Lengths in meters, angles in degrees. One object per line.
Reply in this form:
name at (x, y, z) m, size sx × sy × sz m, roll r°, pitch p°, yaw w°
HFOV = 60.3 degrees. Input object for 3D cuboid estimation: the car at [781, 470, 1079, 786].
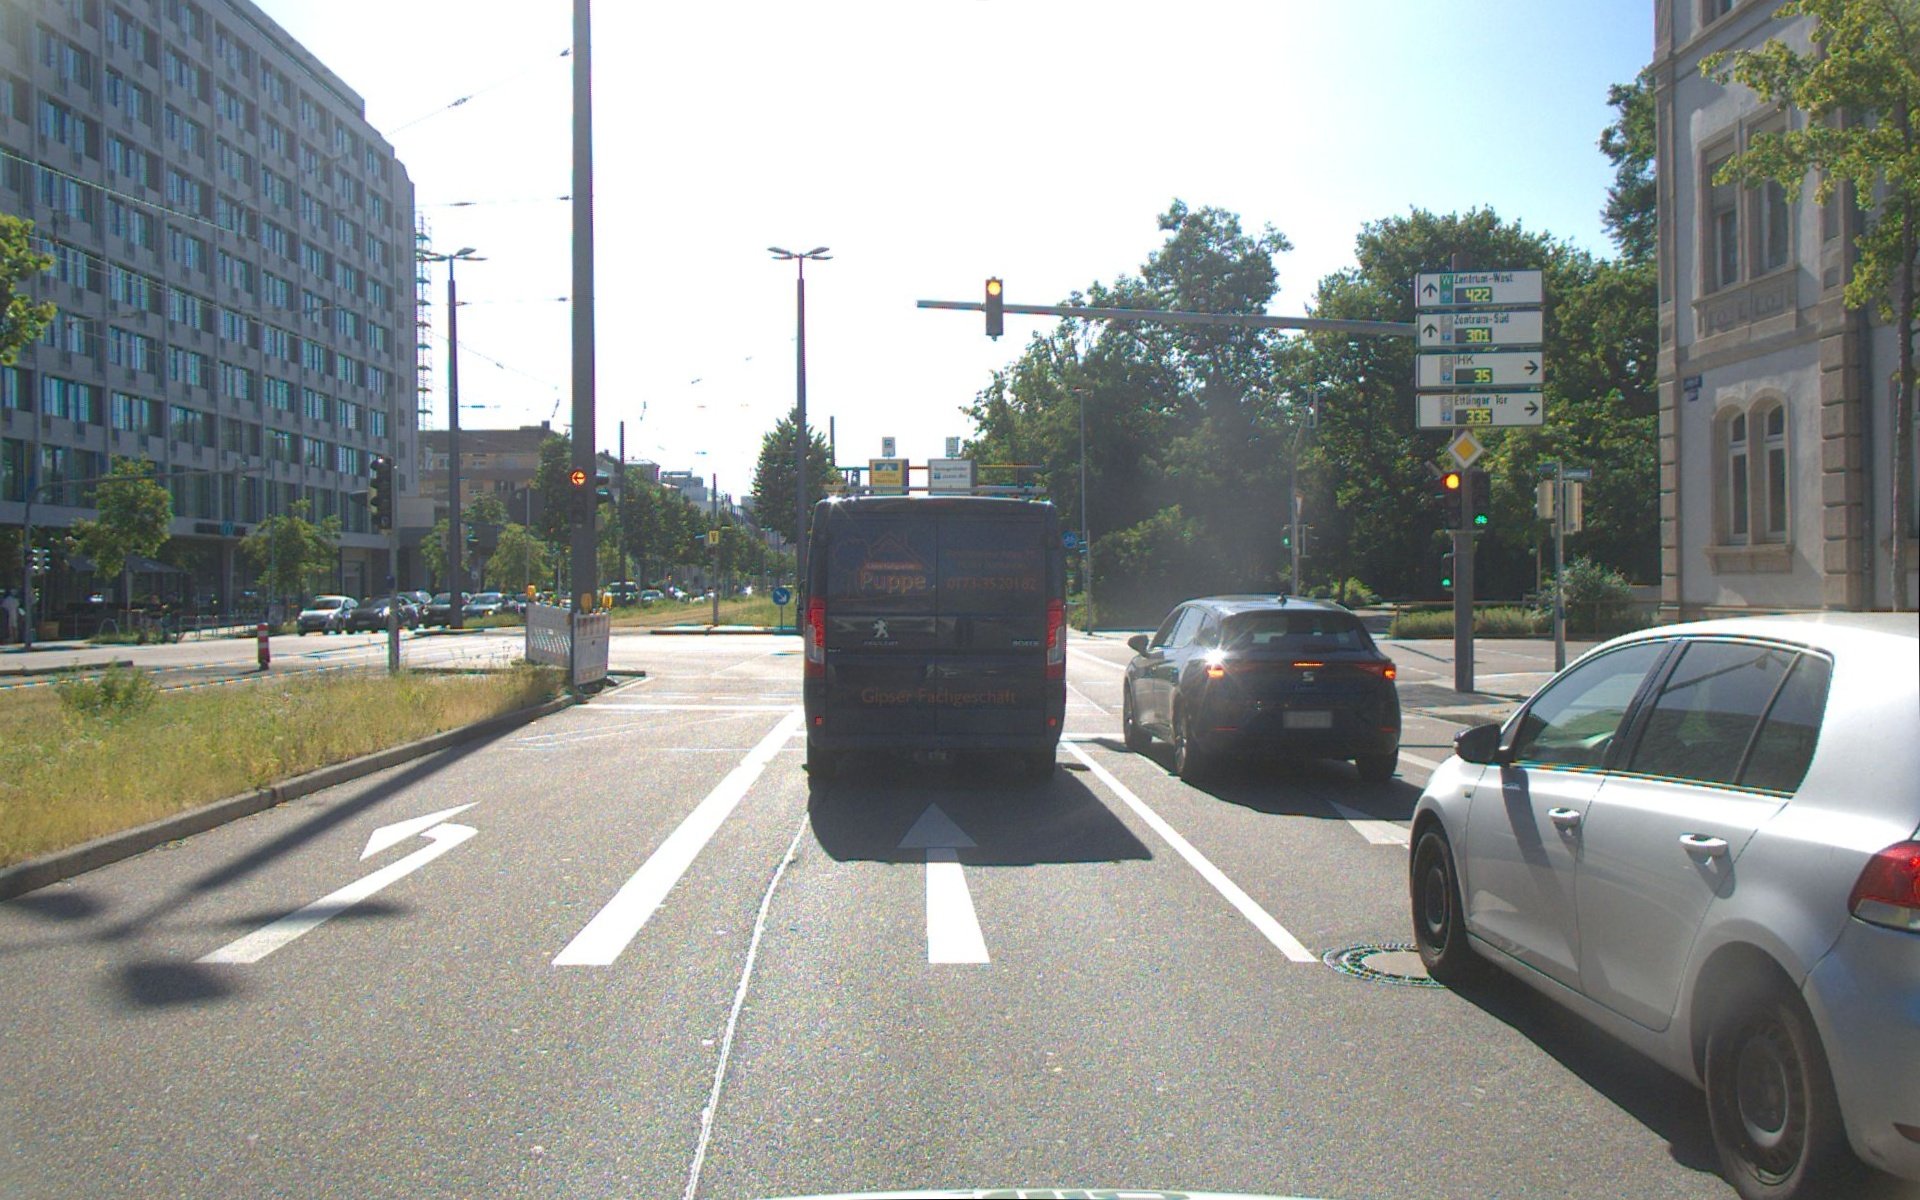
car at (-0.320, 0.174, 14.434) m, size 2.174 × 2.307 × 4.482 m, roll 1°, pitch 1°, yaw -3°

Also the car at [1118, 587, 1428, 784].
car at (2.530, 0.636, 14.277) m, size 1.756 × 1.453 × 3.847 m, roll 1°, pitch 0°, yaw -3°

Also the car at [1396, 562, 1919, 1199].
car at (2.749, 0.687, 5.045) m, size 1.714 × 1.554 × 4.004 m, roll 0°, pitch 1°, yaw -1°

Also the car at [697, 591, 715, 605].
car at (-31.562, -0.294, 205.608) m, size 1.754 × 1.680 × 3.999 m, roll -1°, pitch 0°, yaw -1°
